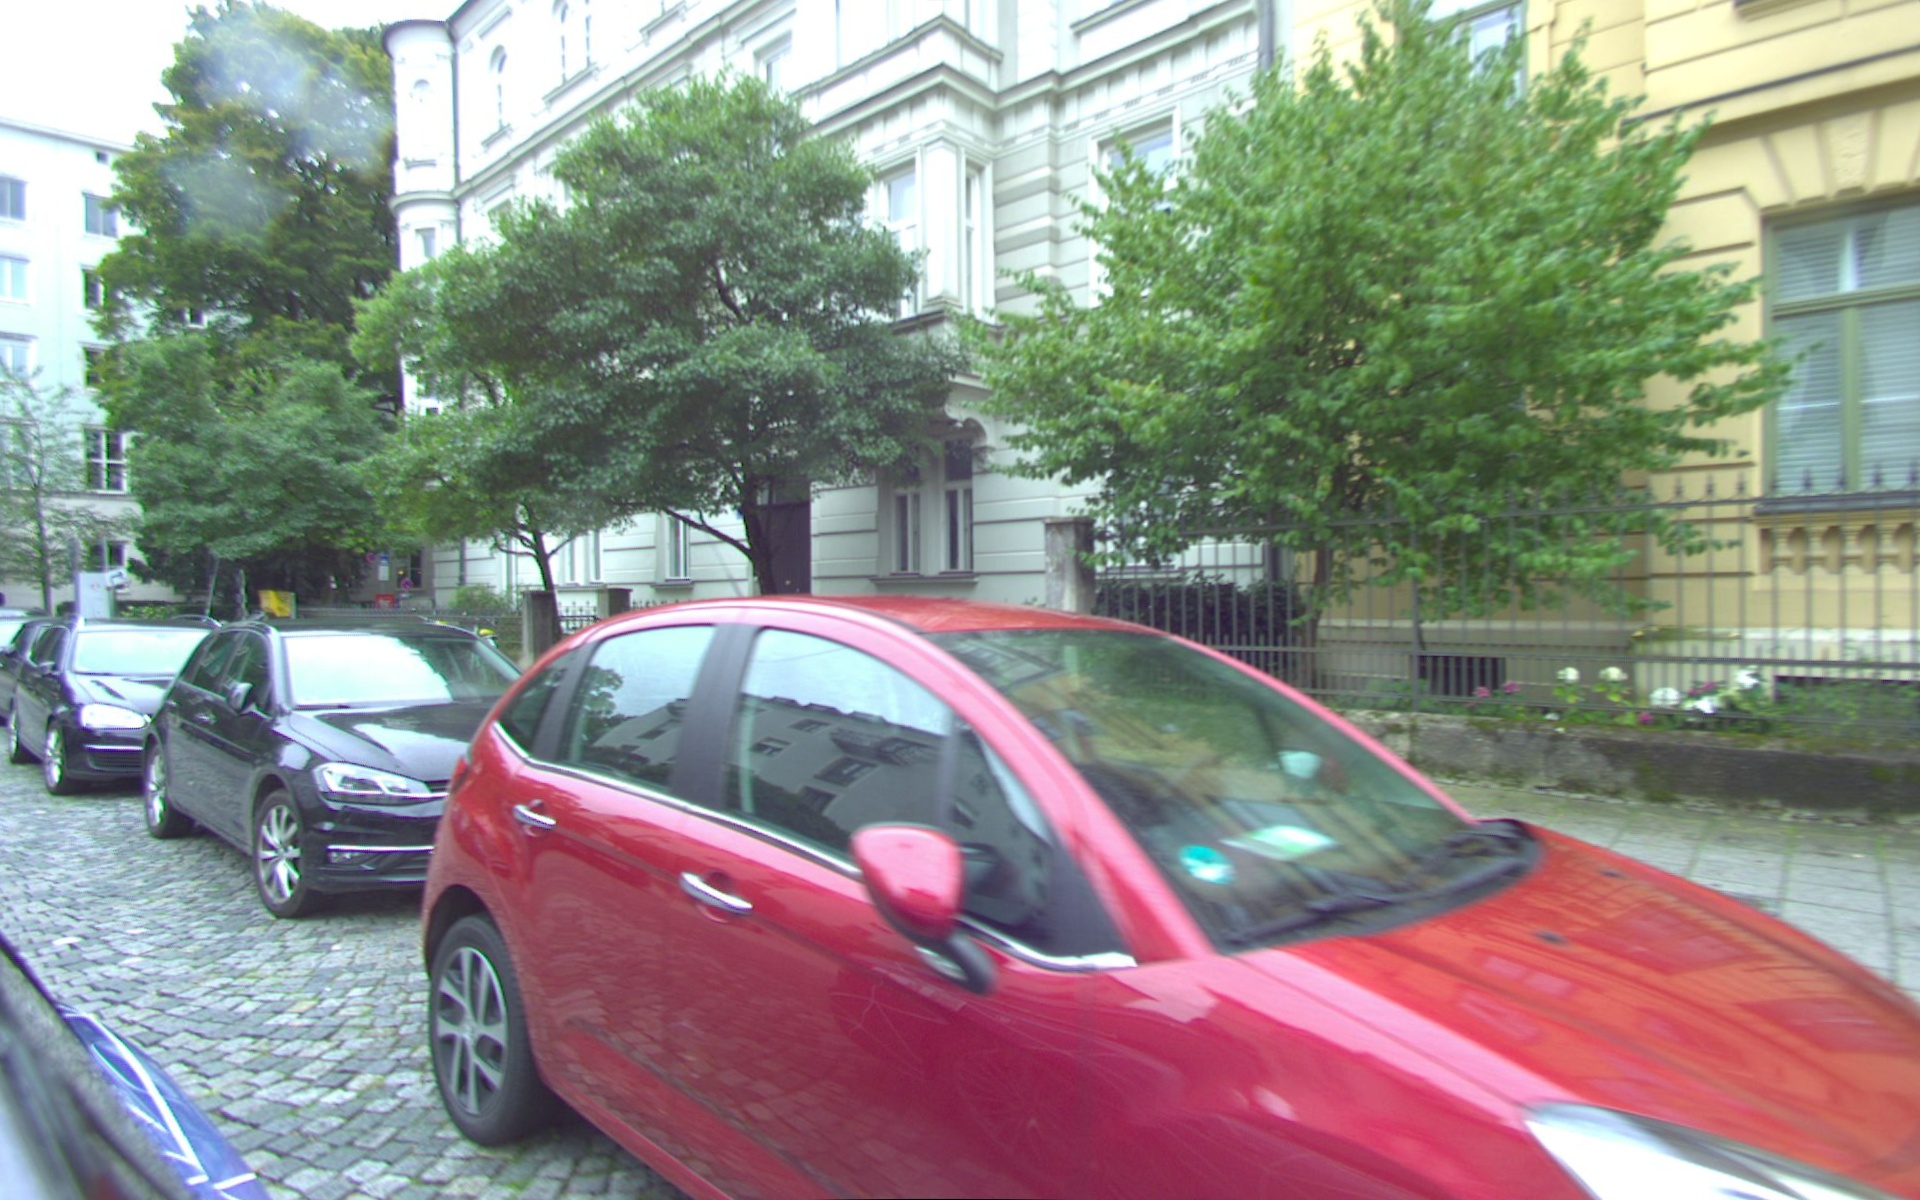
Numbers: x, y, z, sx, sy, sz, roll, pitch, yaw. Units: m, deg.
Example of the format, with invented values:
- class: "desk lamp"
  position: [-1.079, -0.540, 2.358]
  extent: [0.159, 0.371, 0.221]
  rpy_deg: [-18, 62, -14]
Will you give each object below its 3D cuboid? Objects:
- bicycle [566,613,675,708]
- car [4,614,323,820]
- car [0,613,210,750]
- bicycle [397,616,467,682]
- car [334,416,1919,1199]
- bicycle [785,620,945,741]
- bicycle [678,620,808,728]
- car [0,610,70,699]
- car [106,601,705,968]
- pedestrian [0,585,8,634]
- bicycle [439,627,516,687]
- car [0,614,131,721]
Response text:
- class: "bicycle"
  position: [-4.534, 0.771, 13.472]
  extent: [1.790, 1.132, 0.504]
  rpy_deg: [0, 4, 42]
- class: "car"
  position: [-7.756, 0.895, 9.675]
  extent: [4.511, 1.510, 1.790]
  rpy_deg: [-1, -1, 44]
- class: "car"
  position: [-11.430, 0.929, 13.227]
  extent: [4.130, 1.510, 1.722]
  rpy_deg: [-1, -1, 40]
- class: "bicycle"
  position: [-9.275, 0.835, 17.755]
  extent: [1.694, 1.059, 0.458]
  rpy_deg: [0, 4, 42]
- class: "car"
  position: [0.194, 0.669, 2.543]
  extent: [4.189, 1.598, 1.822]
  rpy_deg: [-1, -1, 40]
- class: "bicycle"
  position: [-0.976, 0.758, 10.074]
  extent: [1.759, 1.059, 0.468]
  rpy_deg: [0, 4, 42]
- class: "bicycle"
  position: [-2.500, 0.803, 11.536]
  extent: [1.790, 1.107, 0.429]
  rpy_deg: [0, 4, 42]
- class: "car"
  position: [-18.915, 1.006, 19.767]
  extent: [4.279, 1.593, 1.722]
  rpy_deg: [-1, -1, 41]
- class: "car"
  position: [-3.764, 0.808, 6.432]
  extent: [4.640, 1.521, 1.799]
  rpy_deg: [0, -3, 41]
- class: "pedestrian"
  position: [-38.279, 0.384, 40.122]
  extent: [0.656, 1.930, 0.864]
  rpy_deg: [-3, 2, -40]
- class: "bicycle"
  position: [-7.919, 0.911, 16.580]
  extent: [1.790, 0.879, 0.434]
  rpy_deg: [0, 4, 42]
- class: "car"
  position: [-14.866, 0.983, 16.126]
  extent: [4.276, 1.510, 1.723]
  rpy_deg: [-1, -1, 39]
